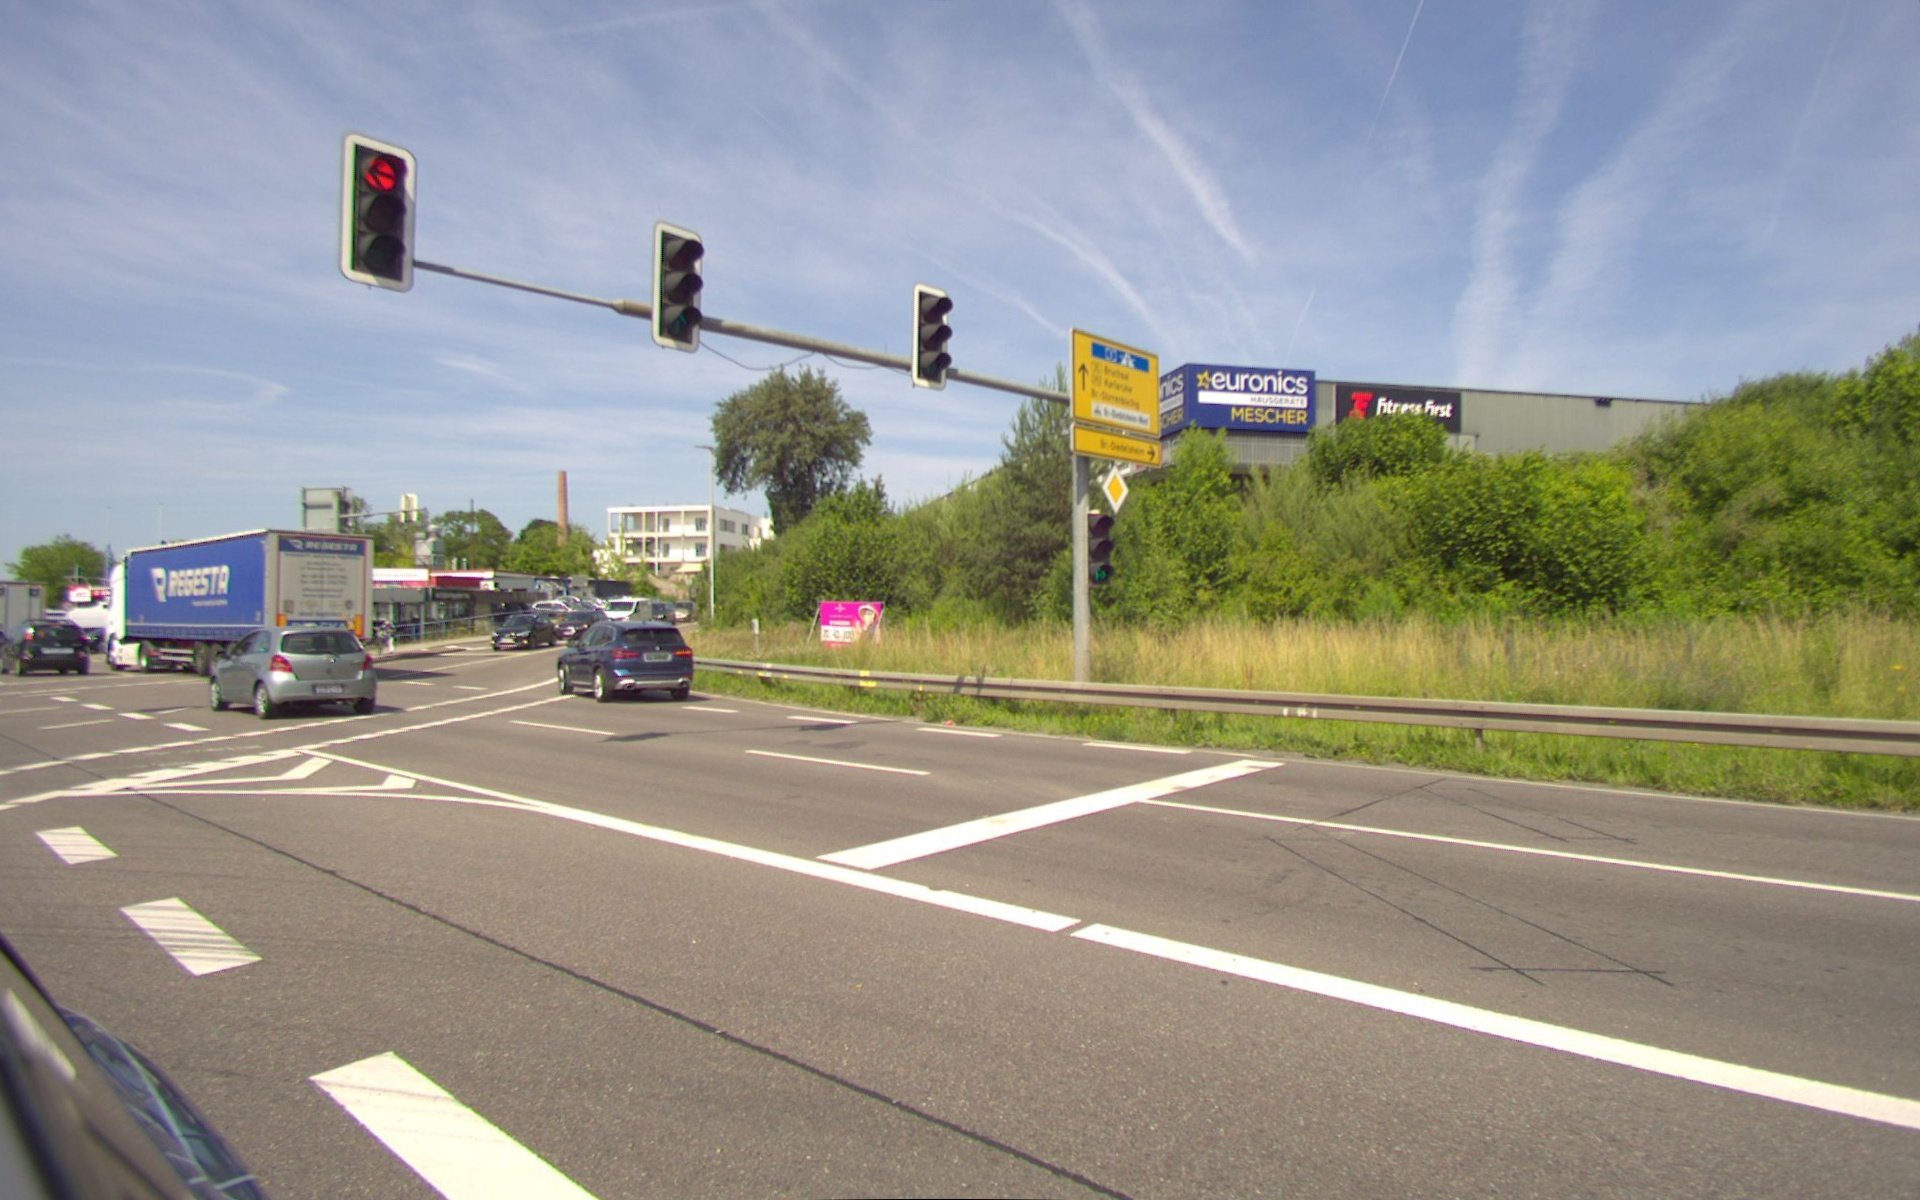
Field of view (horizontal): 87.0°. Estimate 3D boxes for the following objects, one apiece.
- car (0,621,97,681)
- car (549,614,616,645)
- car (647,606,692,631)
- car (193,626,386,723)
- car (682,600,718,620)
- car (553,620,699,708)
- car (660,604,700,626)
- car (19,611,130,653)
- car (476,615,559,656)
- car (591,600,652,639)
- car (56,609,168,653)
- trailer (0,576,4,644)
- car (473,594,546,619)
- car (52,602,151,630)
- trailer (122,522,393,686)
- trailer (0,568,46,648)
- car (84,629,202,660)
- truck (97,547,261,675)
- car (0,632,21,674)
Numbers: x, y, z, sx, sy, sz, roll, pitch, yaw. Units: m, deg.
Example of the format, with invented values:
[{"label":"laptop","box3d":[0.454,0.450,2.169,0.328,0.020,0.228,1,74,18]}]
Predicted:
[{"label":"car","box3d":[-28.447,1.539,31.366,3.998,1.739,1.973,-1,-2,41]},{"label":"car","box3d":[-19.876,1.514,53.479,1.921,1.429,4.978,0,1,-3]},{"label":"car","box3d":[-19.774,1.257,69.124,1.970,1.574,4.513,0,0,-3]},{"label":"car","box3d":[-11.805,1.230,17.743,3.996,1.513,1.708,-1,-3,40]},{"label":"car","box3d":[-21.609,0.810,84.238,1.971,1.574,4.511,0,0,-2]},{"label":"car","box3d":[-7.315,1.302,21.899,1.966,1.689,4.319,1,-2,-33]},{"label":"car","box3d":[-21.217,1.138,76.880,1.971,1.574,4.511,0,0,-2]},{"label":"car","box3d":[-61.043,2.187,69.836,2.177,2.794,5.505,-2,-2,43]},{"label":"car","box3d":[-19.689,1.526,45.279,1.887,1.539,4.640,-1,1,-3]},{"label":"car","box3d":[-20.107,1.084,60.410,2.037,2.057,5.519,-1,1,-3]},{"label":"car","box3d":[-58.145,2.134,69.455,2.116,2.860,5.645,-3,-3,43]},{"label":"trailer","box3d":[-61.127,0.628,62.142,6.172,4.136,2.620,-1,-2,38]},{"label":"car","box3d":[-30.095,0.424,67.657,4.012,1.574,2.001,0,0,-1]},{"label":"car","box3d":[-51.567,1.005,60.867,2.010,1.635,4.164,0,-2,14]},{"label":"trailer","box3d":[-21.932,0.256,30.972,14.113,4.111,3.062,-1,-2,40]},{"label":"trailer","box3d":[-55.510,0.549,57.710,13.860,4.179,2.666,-1,-2,38]},{"label":"car","box3d":[-43.578,2.343,54.060,4.570,1.447,1.976,-2,-1,-5]},{"label":"truck","box3d":[-27.487,0.442,35.535,6.339,4.111,3.156,-1,-2,39]},{"label":"car","box3d":[-36.575,1.947,37.487,4.448,1.496,1.974,-1,-2,39]}]
